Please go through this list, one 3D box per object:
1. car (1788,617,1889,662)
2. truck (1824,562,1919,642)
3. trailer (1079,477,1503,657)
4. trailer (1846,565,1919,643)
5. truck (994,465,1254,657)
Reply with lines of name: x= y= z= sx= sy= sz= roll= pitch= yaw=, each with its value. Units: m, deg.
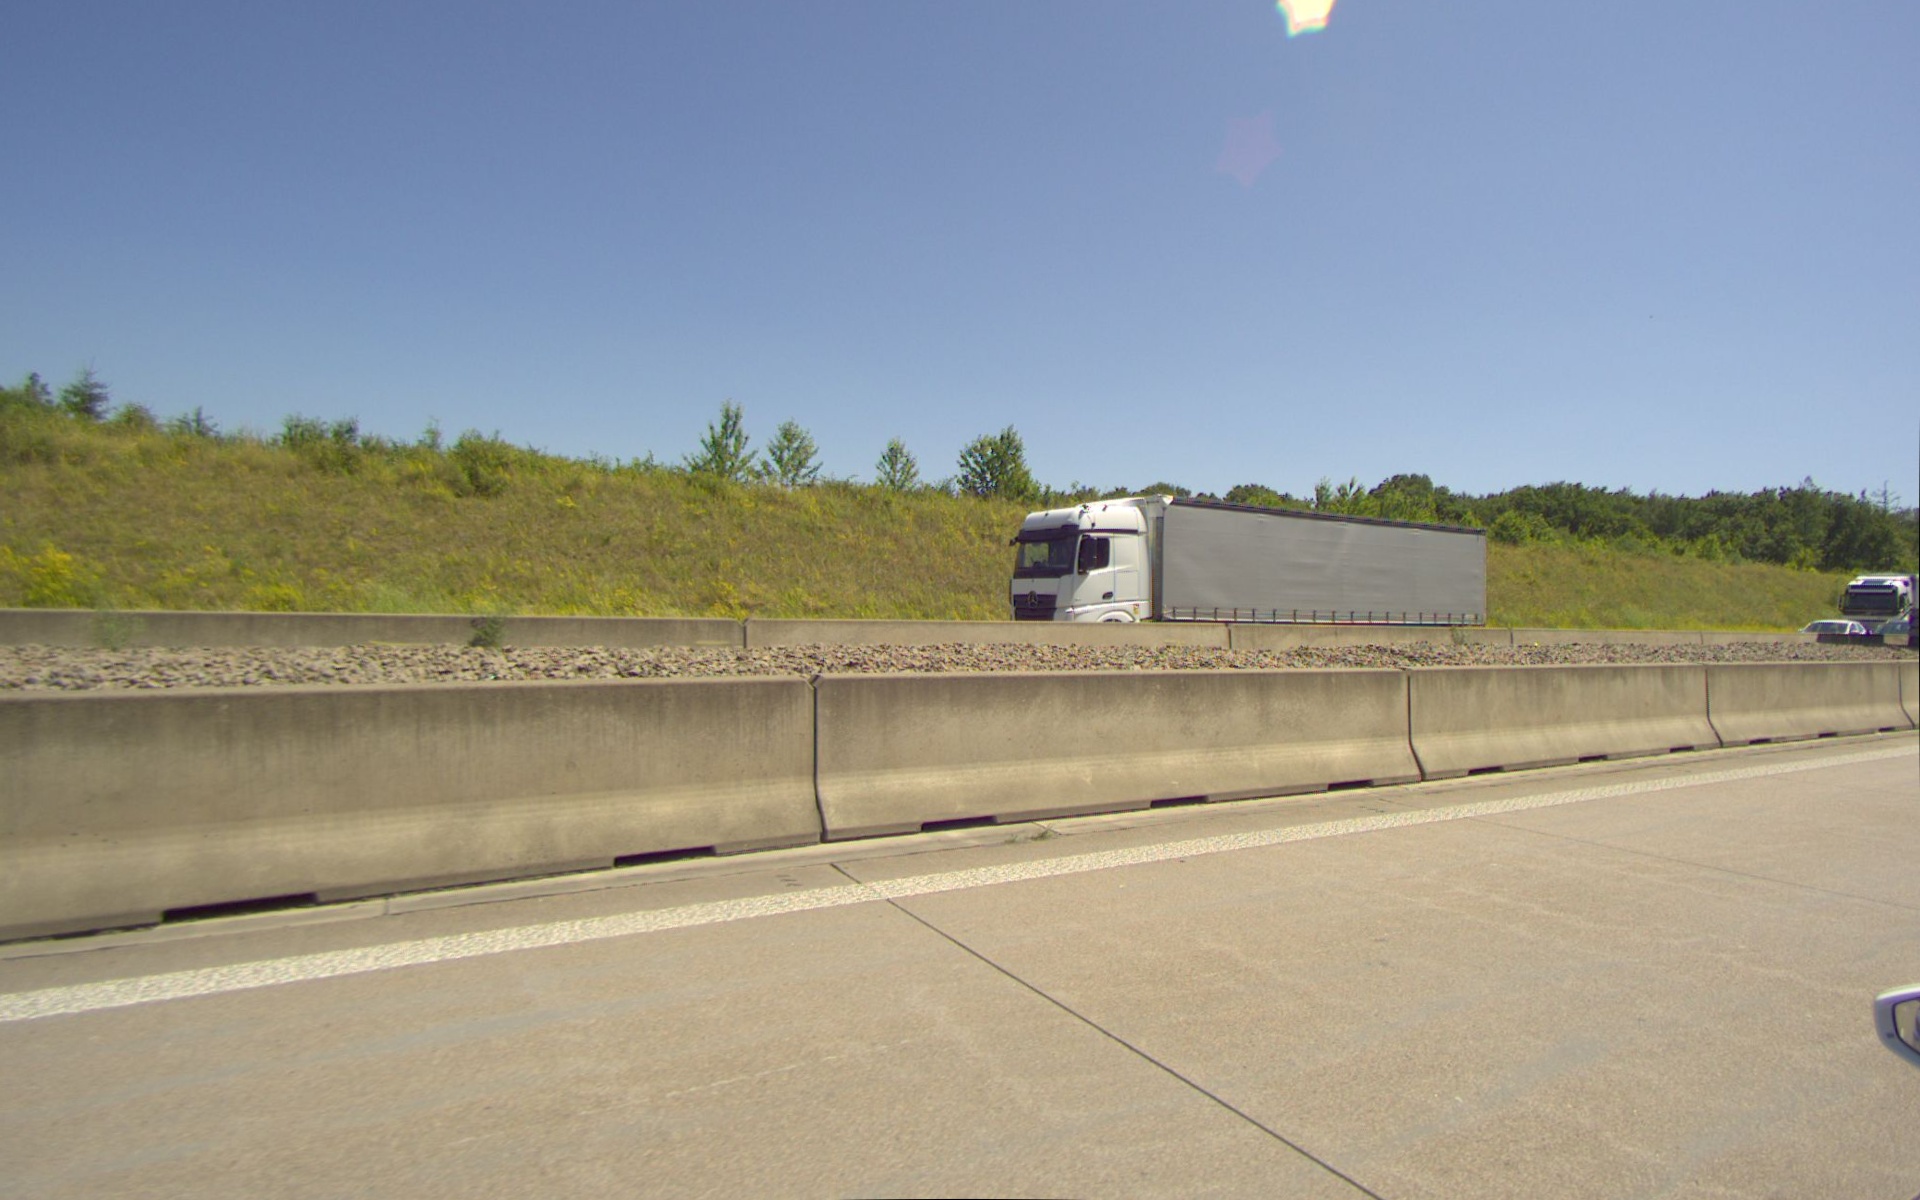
car: x=35.192 y=1.569 z=40.209 sx=3.955 sy=1.706 sz=1.983 roll=2 pitch=-1 yaw=-32
truck: x=51.433 y=0.135 z=56.212 sx=6.163 sy=4.224 sz=2.916 roll=2 pitch=2 yaw=-33
trailer: x=9.945 y=-0.644 z=28.572 sx=14.229 sy=4.224 sz=2.917 roll=2 pitch=2 yaw=-32
trailer: x=57.675 y=0.348 z=60.353 sx=14.236 sy=4.224 sz=2.915 roll=2 pitch=2 yaw=-34
truck: x=4.090 y=-0.837 z=24.858 sx=5.697 sy=4.224 sz=2.917 roll=2 pitch=2 yaw=-32
